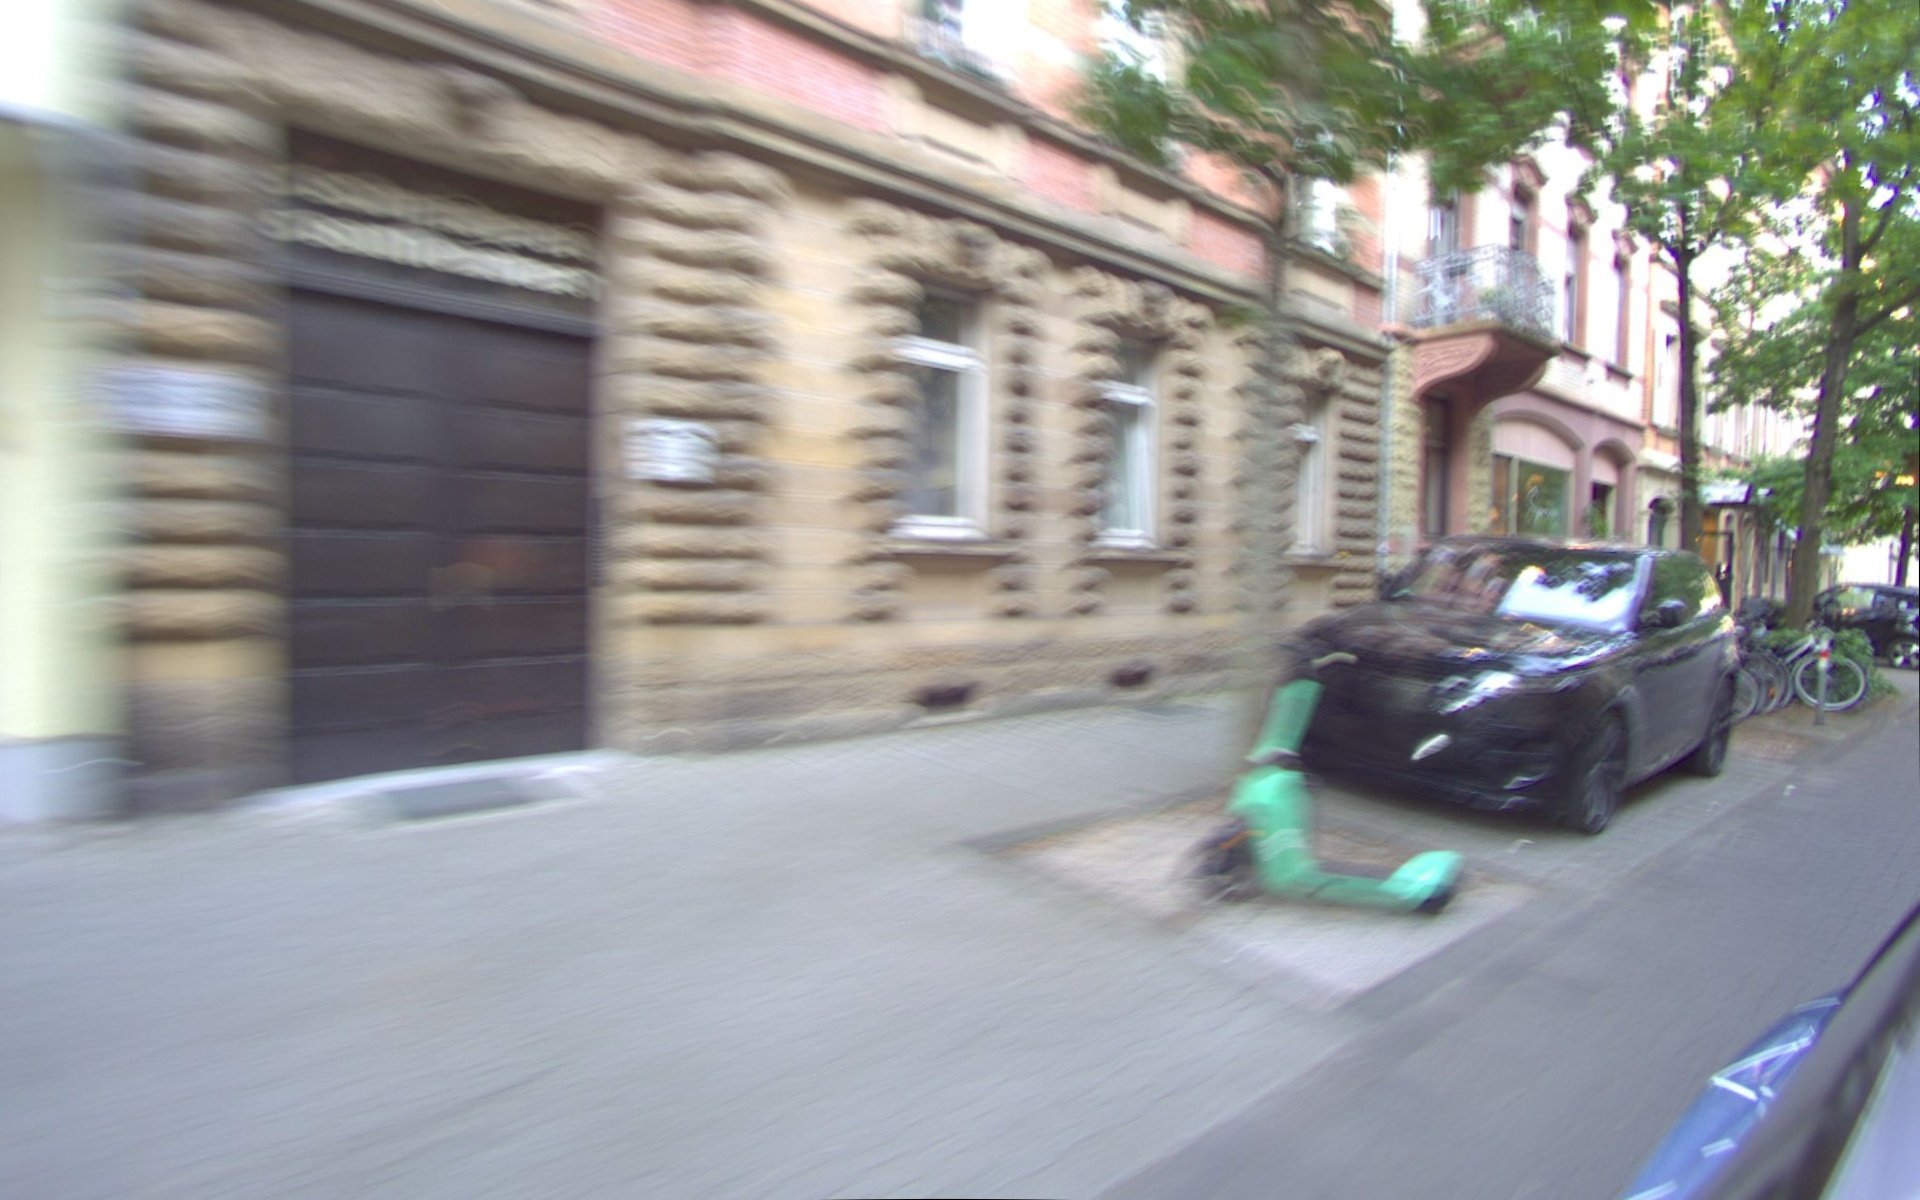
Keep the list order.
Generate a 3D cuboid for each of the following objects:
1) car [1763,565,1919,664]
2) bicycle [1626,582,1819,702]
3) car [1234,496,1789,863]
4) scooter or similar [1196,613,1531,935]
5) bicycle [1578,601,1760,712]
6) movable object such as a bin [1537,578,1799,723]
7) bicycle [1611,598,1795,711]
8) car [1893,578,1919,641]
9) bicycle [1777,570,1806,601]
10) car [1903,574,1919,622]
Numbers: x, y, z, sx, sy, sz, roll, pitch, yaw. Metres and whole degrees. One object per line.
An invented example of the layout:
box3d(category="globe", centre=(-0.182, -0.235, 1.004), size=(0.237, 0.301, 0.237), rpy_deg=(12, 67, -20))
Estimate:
box3d(category="car", centre=(17.506, 0.246, 19.509), size=(1.769, 1.618, 2.805), rpy_deg=(-1, 6, -40))
box3d(category="bicycle", centre=(9.694, 0.482, 12.921), size=(0.788, 1.309, 1.765), rpy_deg=(0, 5, -41))
box3d(category="car", centre=(4.268, 0.309, 7.447), size=(4.728, 1.855, 2.018), rpy_deg=(-1, 5, -42))
box3d(category="scooter or similar", centre=(1.686, 0.707, 4.380), size=(1.094, 1.204, 0.676), rpy_deg=(2, 4, -1))
box3d(category="bicycle", centre=(8.480, 0.632, 12.160), size=(0.572, 1.158, 1.663), rpy_deg=(0, 2, -38))
box3d(category="movable object such as a bin", centre=(7.942, 0.500, 11.473), size=(0.757, 1.320, 2.223), rpy_deg=(0, 5, -38))
box3d(category="bicycle", centre=(9.069, 0.622, 12.416), size=(0.572, 1.213, 1.701), rpy_deg=(0, 2, -38))
box3d(category="car", centre=(24.747, 0.230, 25.241), size=(4.033, 1.509, 1.736), rpy_deg=(-1, 3, -42))
box3d(category="bicycle", centre=(24.334, -0.439, 29.610), size=(1.522, 0.870, 0.446), rpy_deg=(-1, 2, -43))
box3d(category="car", centre=(33.157, 0.004, 33.443), size=(1.499, 1.592, 2.721), rpy_deg=(0, 5, -41))
